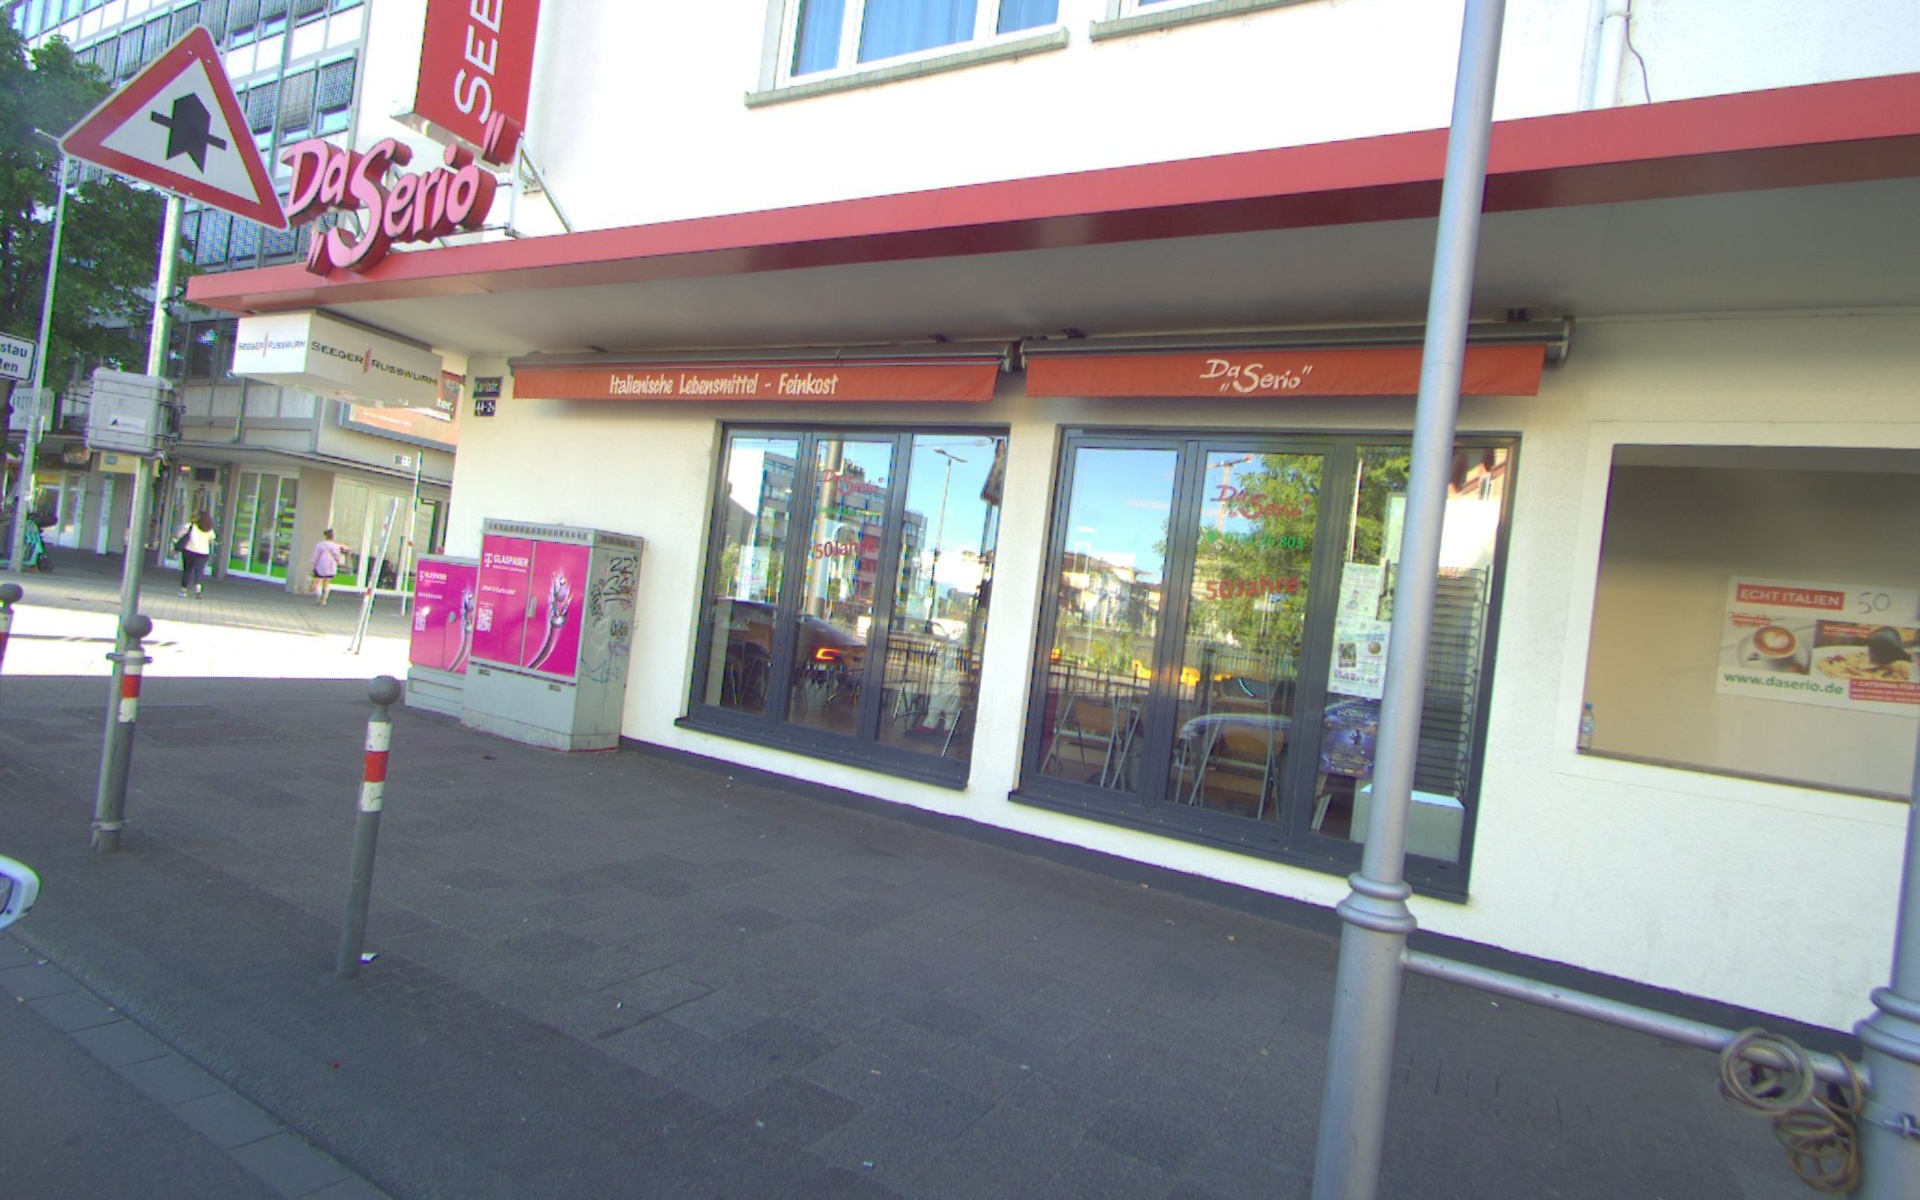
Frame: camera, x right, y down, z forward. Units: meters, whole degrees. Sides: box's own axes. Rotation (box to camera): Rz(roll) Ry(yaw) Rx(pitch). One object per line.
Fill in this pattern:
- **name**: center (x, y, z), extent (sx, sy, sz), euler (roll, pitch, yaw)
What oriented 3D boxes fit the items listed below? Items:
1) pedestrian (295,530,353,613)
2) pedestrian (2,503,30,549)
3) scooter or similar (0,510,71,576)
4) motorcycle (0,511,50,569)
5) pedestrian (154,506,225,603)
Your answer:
- **pedestrian**: center (-14.083, -0.629, 22.258), extent (0.884, 1.687, 0.801), euler (8, -1, -35)
- **pedestrian**: center (-29.251, -2.289, 31.166), extent (0.504, 1.359, 0.390), euler (6, -1, 34)
- **scooter or similar**: center (-19.952, -1.236, 21.182), extent (1.628, 1.229, 0.640), euler (8, -1, -29)
- **motorcycle**: center (-21.528, -1.408, 22.379), extent (0.532, 1.186, 1.711), euler (7, -2, 30)
- **pedestrian**: center (-15.251, -0.899, 19.939), extent (0.909, 1.773, 1.029), euler (7, 0, -35)
